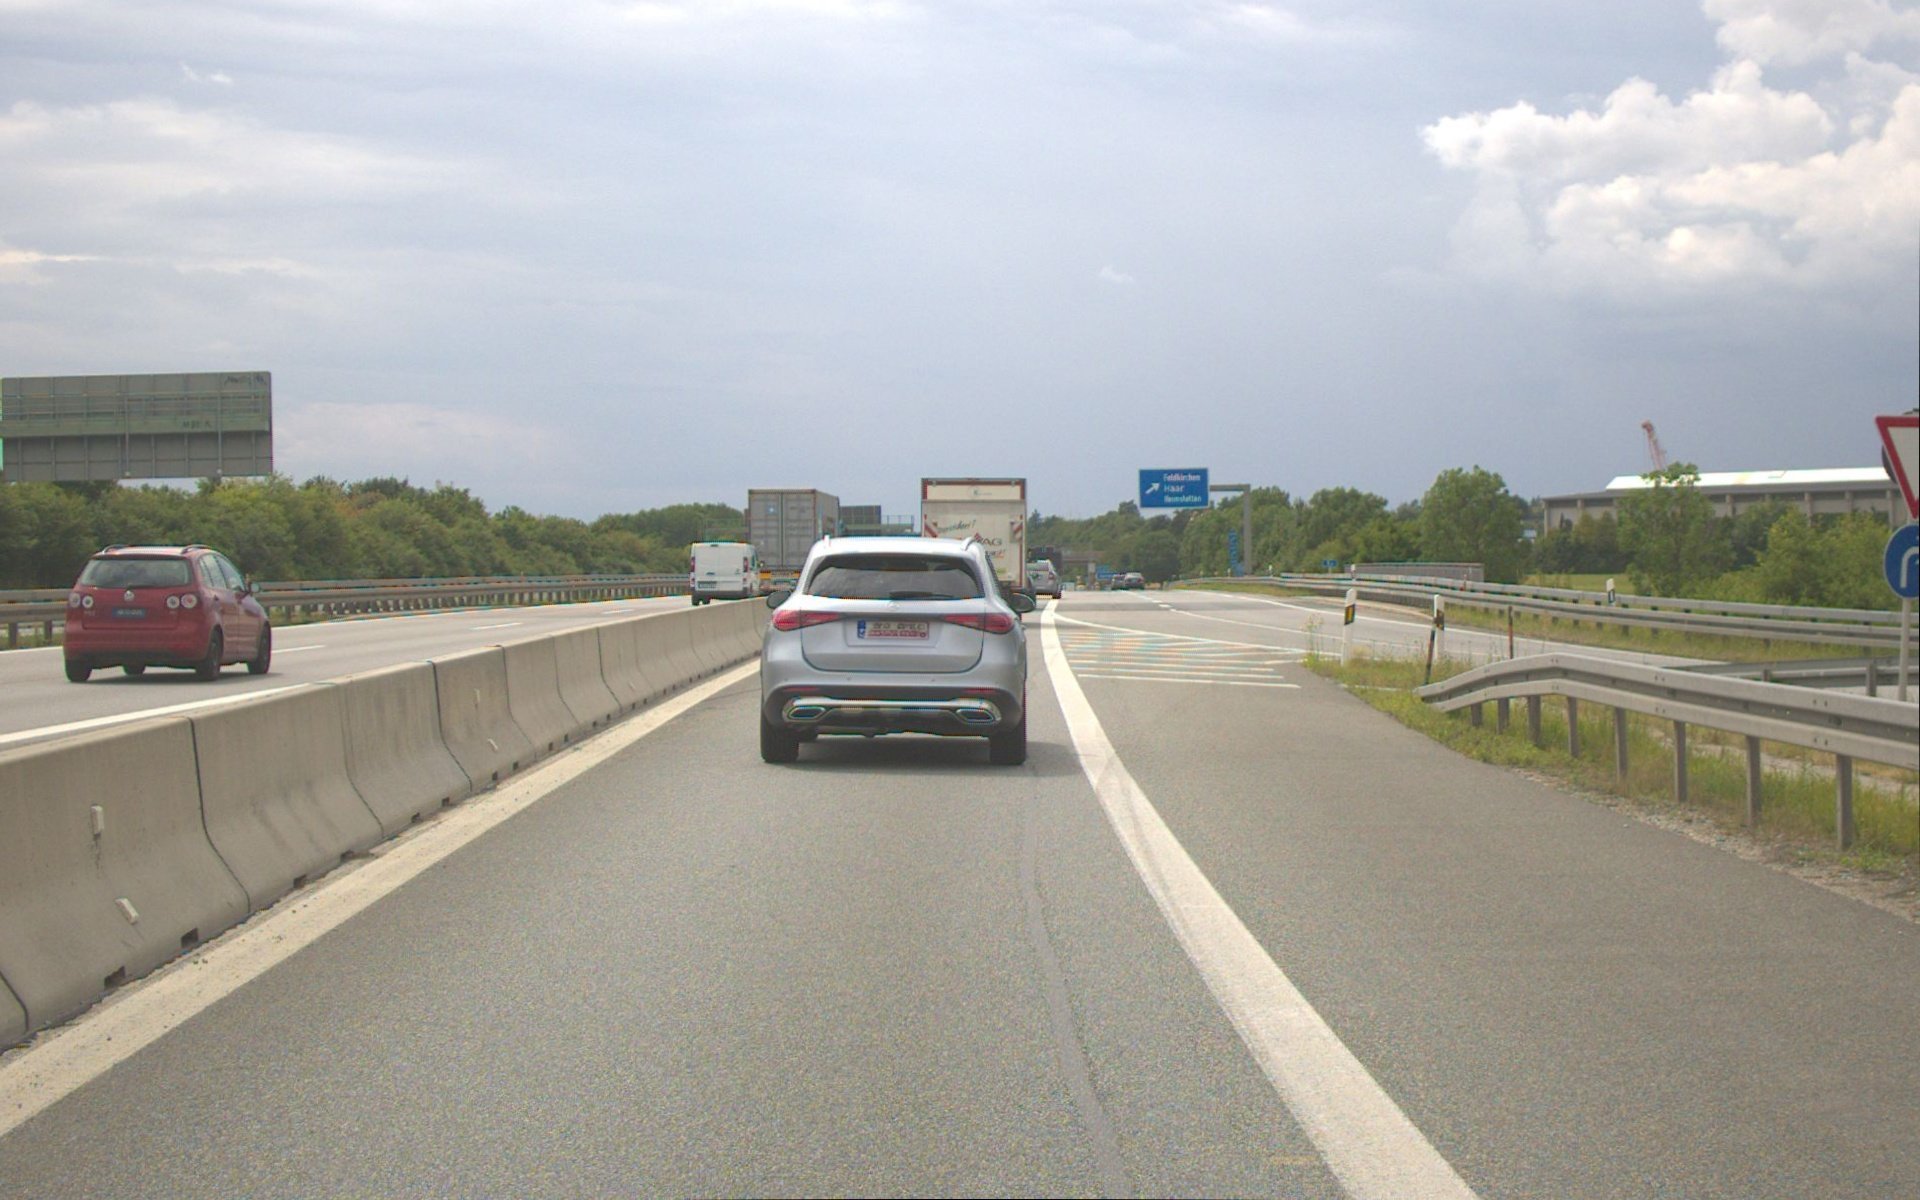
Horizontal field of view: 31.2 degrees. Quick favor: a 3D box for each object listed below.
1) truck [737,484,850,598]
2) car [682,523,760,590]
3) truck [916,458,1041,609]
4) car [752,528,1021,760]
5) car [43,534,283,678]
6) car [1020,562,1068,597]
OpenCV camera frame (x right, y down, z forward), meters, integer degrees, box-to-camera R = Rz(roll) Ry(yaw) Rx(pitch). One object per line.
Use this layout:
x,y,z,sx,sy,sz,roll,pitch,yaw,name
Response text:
-6.190,-2.366,130.347,3.183,4.005,16.076,1,2,1,truck
-7.536,-1.388,108.819,1.993,2.006,4.374,1,2,2,car
0.410,-1.436,75.804,2.569,3.115,8.634,1,1,0,truck
-0.500,0.261,25.410,1.819,1.509,4.000,1,2,0,car
-9.439,0.029,41.051,1.819,1.540,4.355,1,2,1,car
3.175,-0.785,129.523,1.696,1.284,4.000,0,1,3,car
